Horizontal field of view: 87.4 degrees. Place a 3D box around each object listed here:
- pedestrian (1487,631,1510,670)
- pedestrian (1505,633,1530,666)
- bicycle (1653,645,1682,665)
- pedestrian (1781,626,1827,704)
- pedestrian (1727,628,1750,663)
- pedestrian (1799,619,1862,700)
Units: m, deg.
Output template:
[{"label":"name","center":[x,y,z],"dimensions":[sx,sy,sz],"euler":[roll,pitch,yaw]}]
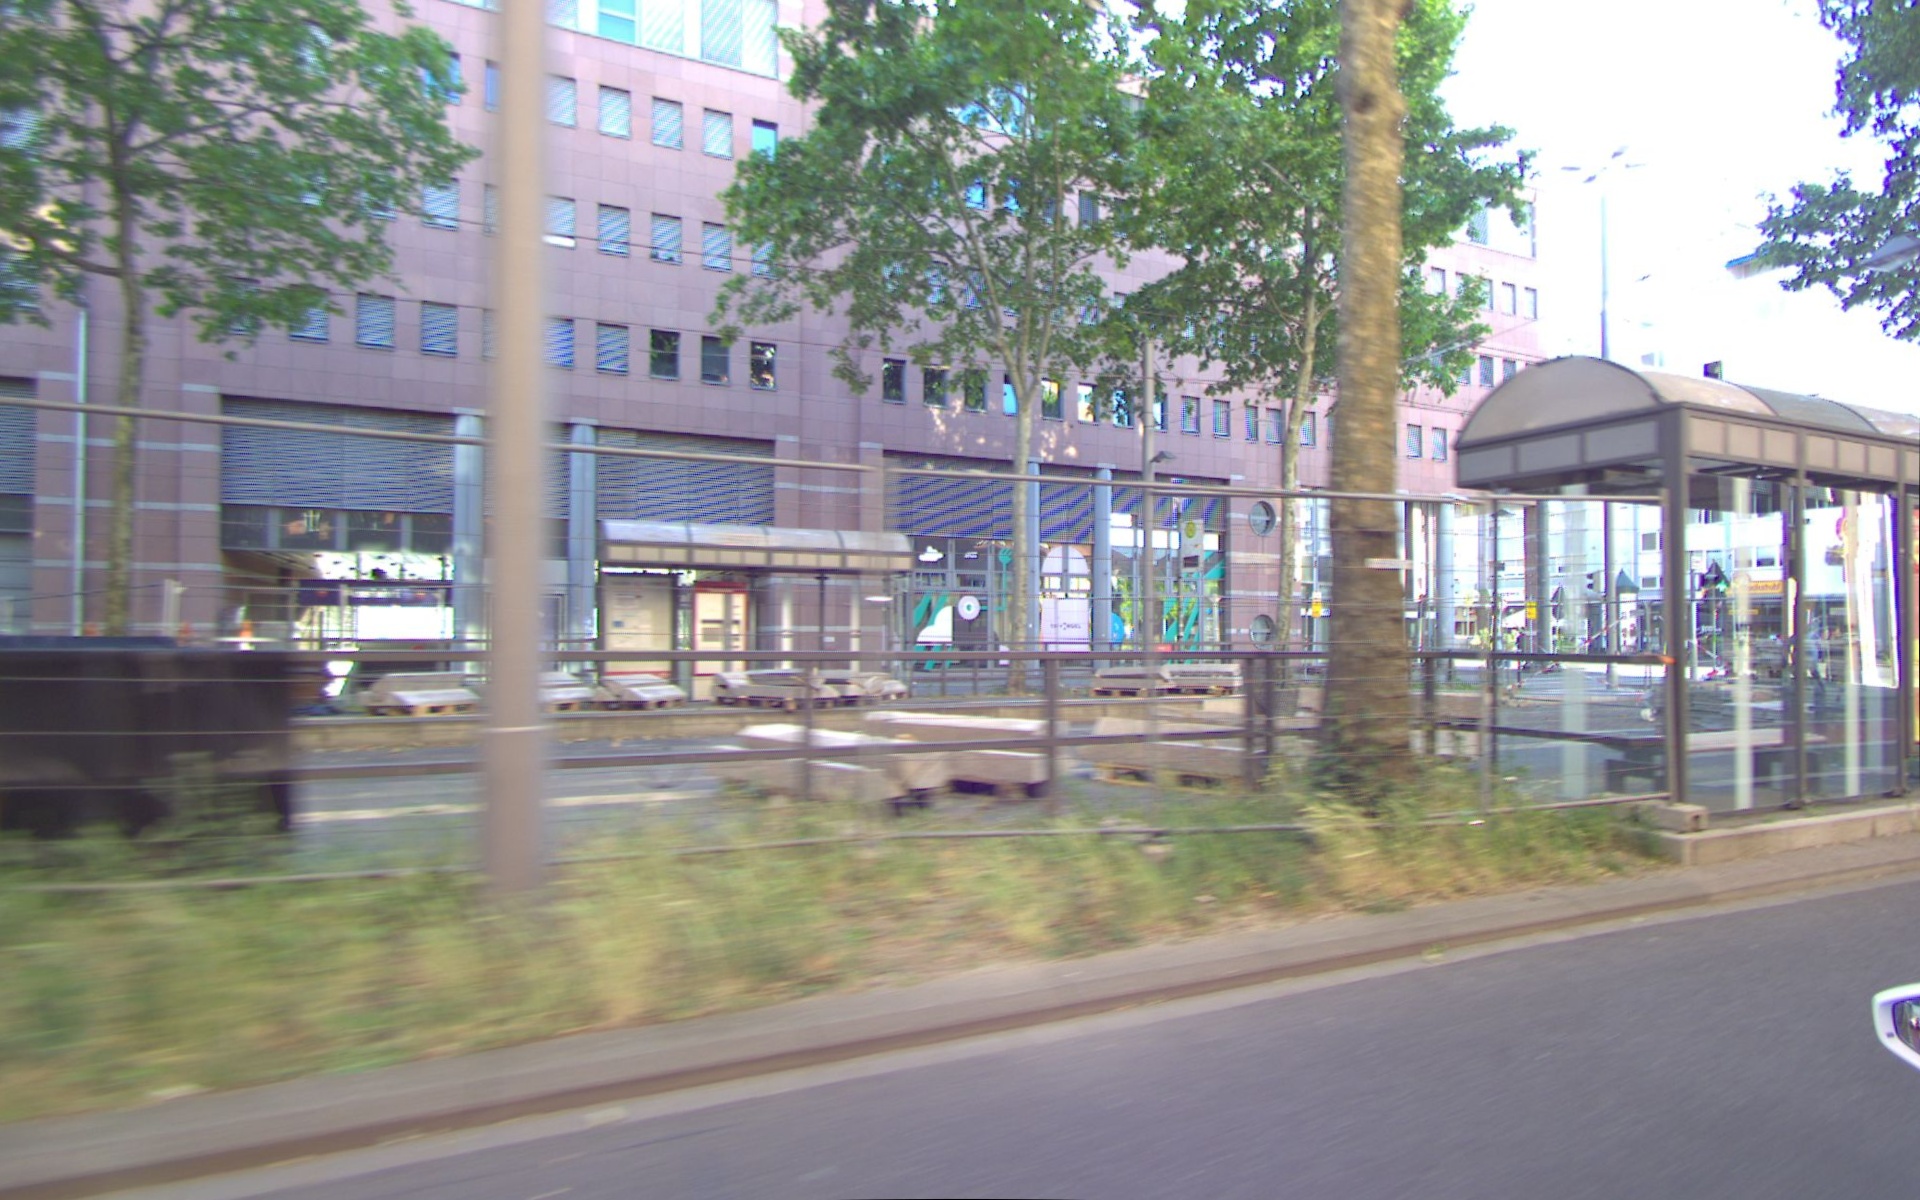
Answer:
[{"label":"pedestrian","center":[22.799,2.144,42.552],"dimensions":[0.713,1.639,0.639],"euler":[-1,-2,42]},{"label":"pedestrian","center":[28.317,2.498,51.043],"dimensions":[0.866,1.687,0.908],"euler":[0,-2,11]},{"label":"bicycle","center":[39.162,3.053,55.605],"dimensions":[1.985,1.067,0.591],"euler":[1,-2,-33]},{"label":"pedestrian","center":[18.564,1.417,22.095],"dimensions":[0.523,1.702,0.565],"euler":[1,-2,-23]},{"label":"pedestrian","center":[39.940,2.321,51.522],"dimensions":[0.773,1.815,0.627],"euler":[1,-1,-23]},{"label":"pedestrian","center":[19.330,1.312,22.308],"dimensions":[0.838,1.757,0.775],"euler":[1,-2,-27]}]
